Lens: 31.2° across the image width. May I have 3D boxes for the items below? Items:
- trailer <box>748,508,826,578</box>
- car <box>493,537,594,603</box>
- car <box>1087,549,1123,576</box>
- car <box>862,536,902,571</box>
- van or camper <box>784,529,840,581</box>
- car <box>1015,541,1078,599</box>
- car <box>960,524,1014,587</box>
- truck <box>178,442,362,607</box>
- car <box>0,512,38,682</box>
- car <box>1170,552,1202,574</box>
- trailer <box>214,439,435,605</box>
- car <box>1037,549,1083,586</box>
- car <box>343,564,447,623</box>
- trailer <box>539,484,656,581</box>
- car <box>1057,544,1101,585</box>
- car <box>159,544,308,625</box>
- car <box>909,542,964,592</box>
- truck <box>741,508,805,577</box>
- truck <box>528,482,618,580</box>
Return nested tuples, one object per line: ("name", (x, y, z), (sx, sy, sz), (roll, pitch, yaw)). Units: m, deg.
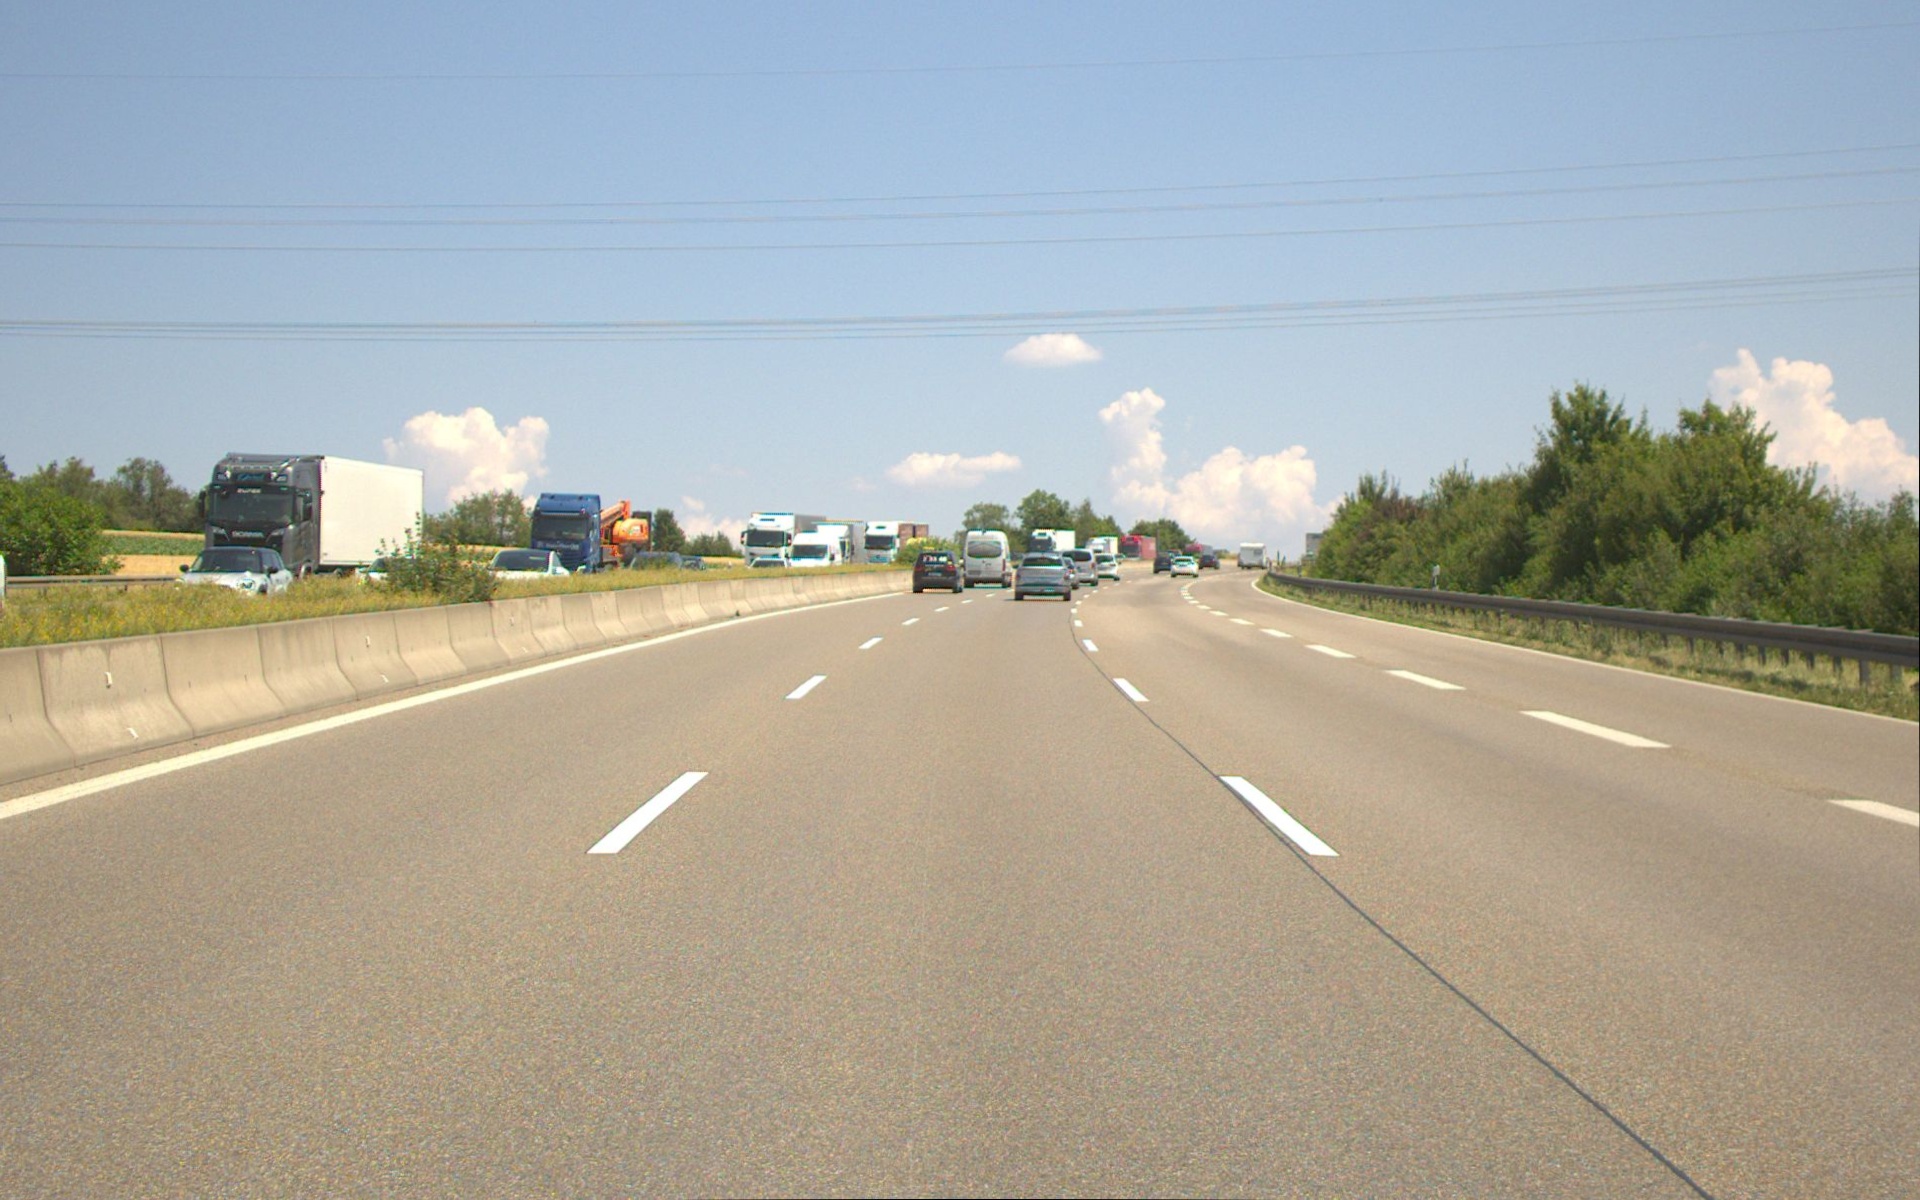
("trailer", (-10.564, -3.440, 211.226), (2.794, 4.091, 14.004), (1, 1, 5))
("car", (-10.440, -0.769, 86.471), (1.879, 1.565, 4.589), (1, 1, 1))
("car", (8.704, -2.249, 206.069), (1.994, 1.546, 4.000), (2, 1, 4))
("car", (-5.807, -3.479, 256.373), (2.332, 2.549, 5.605), (1, 2, 5))
("van or camper", (-7.084, -2.136, 165.427), (2.067, 2.455, 7.519), (-1, 0, 2))
("car", (2.892, -0.990, 114.534), (1.994, 1.744, 3.999), (1, -2, 3))
("car", (1.254, -2.023, 157.068), (2.180, 2.616, 4.671), (1, -2, 3))
("truck", (-18.290, -1.978, 91.606), (3.226, 4.192, 7.126), (1, 1, 2))
("car", (-11.662, -0.049, 36.793), (1.993, 1.897, 5.676), (1, 0, 0))
("car", (15.512, -2.538, 235.868), (1.902, 1.437, 3.999), (1, 1, 8))
("trailer", (-18.032, -2.168, 98.784), (3.242, 4.372, 14.027), (1, 1, 2))
("car", (4.427, -1.429, 152.710), (1.993, 1.580, 4.000), (0, -1, 1))
("car", (-14.559, -0.179, 88.784), (1.866, 1.451, 4.573), (1, 0, 1))
("trailer", (-15.557, -2.827, 148.607), (2.839, 3.944, 13.726), (1, 1, 3))
("car", (5.994, -1.771, 172.445), (1.994, 1.897, 3.999), (1, -2, 5))
("car", (-14.786, -0.318, 70.233), (1.993, 1.582, 4.589), (0, 0, 1))
("car", (-0.907, -1.306, 133.674), (1.847, 1.854, 4.205), (1, 2, 3))
("truck", (-11.111, -3.425, 205.100), (2.853, 4.013, 6.513), (1, 0, 5))
("truck", (-15.913, -2.812, 141.742), (2.776, 3.924, 6.138), (1, 1, 2))
